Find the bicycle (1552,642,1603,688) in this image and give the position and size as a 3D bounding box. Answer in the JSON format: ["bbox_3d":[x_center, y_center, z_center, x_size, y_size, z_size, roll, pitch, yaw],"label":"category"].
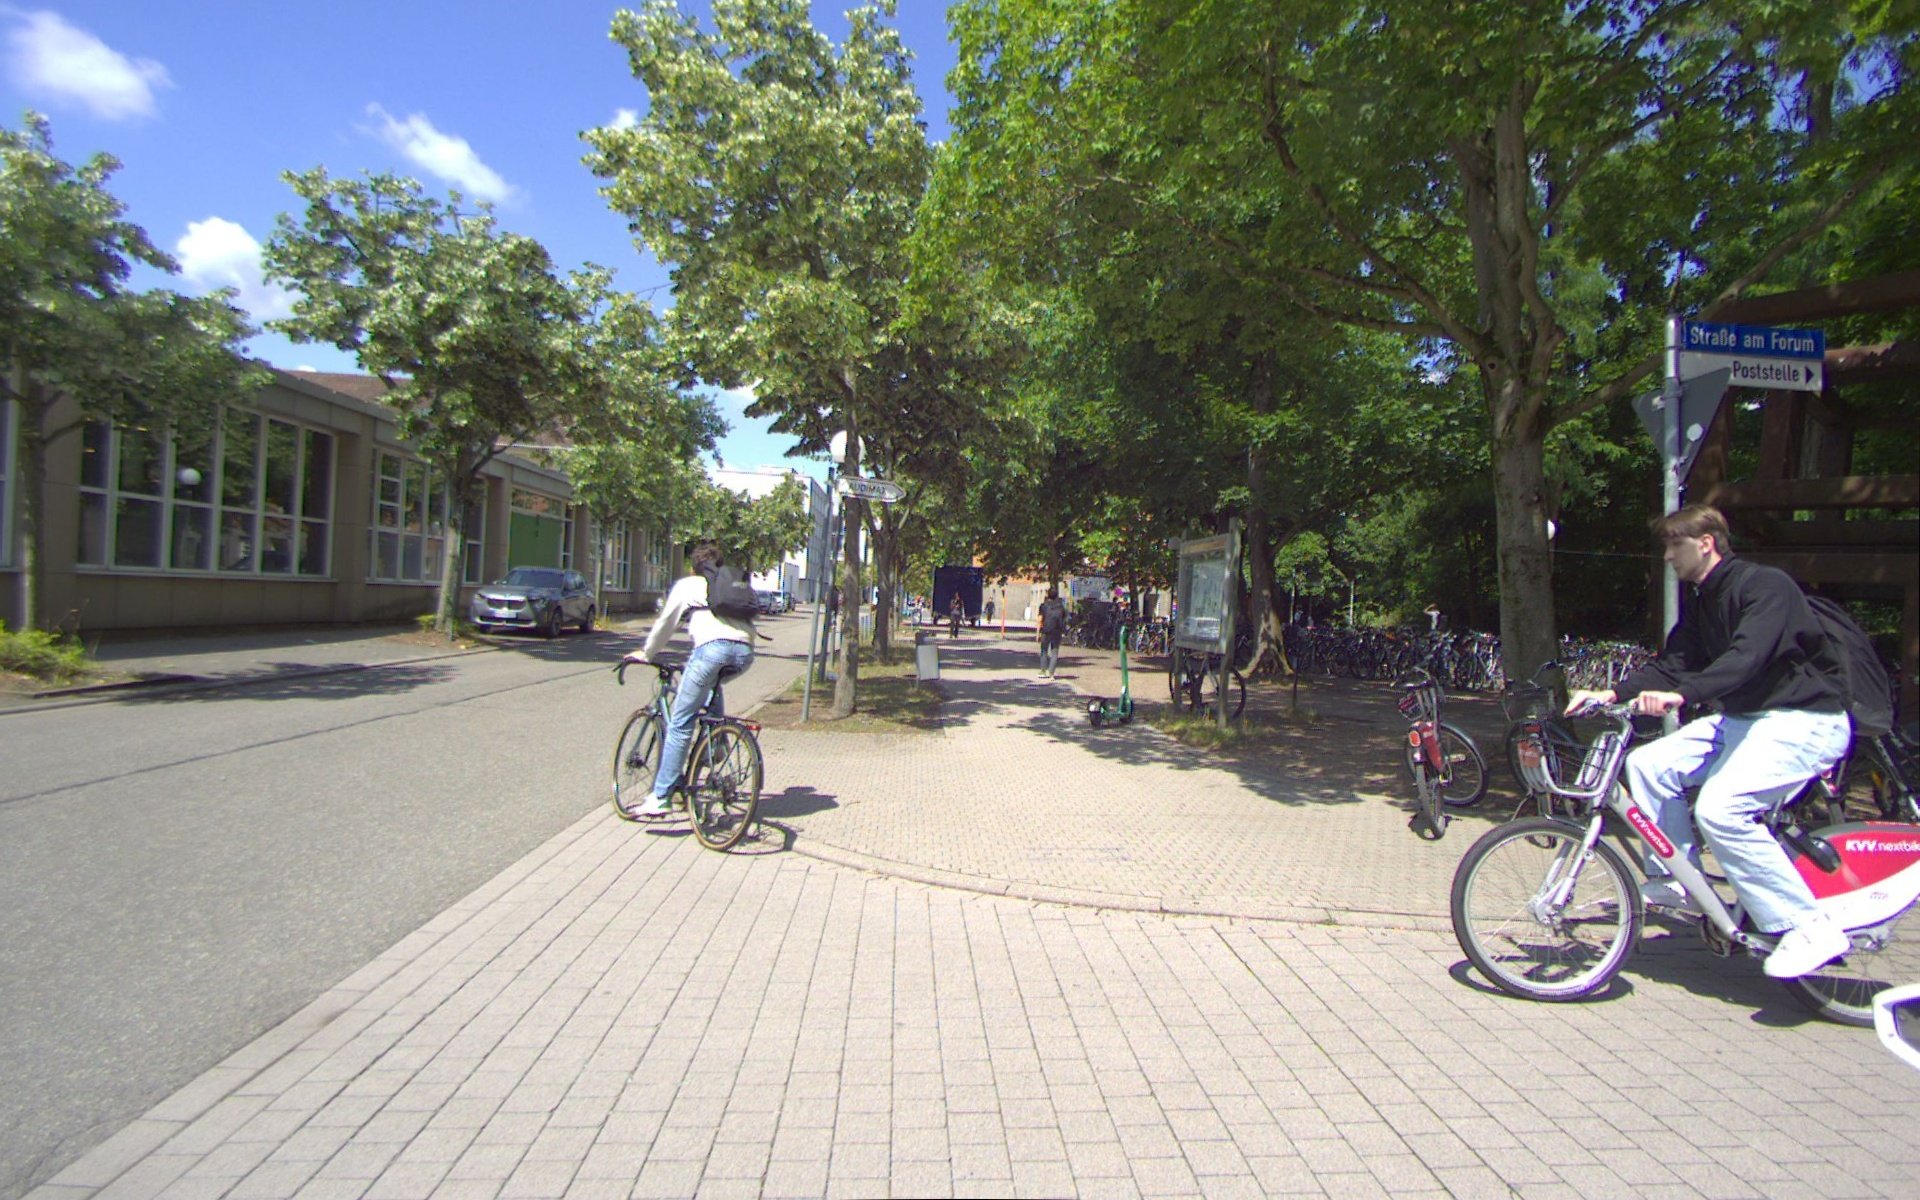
[{"bbox_3d":[15.578,1.639,25.331,1.684,1.098,0.469,3,1,-37],"label":"bicycle"}]

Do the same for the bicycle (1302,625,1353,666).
[{"bbox_3d":[10.440,1.304,28.475,1.844,1.098,0.468,3,1,-41],"label":"bicycle"}]

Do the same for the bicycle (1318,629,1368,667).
[{"bbox_3d":[11.817,1.486,30.959,1.681,1.098,0.470,3,1,-32],"label":"bicycle"}]

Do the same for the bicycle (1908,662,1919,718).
[{"bbox_3d":[19.523,1.814,20.211,1.687,1.098,0.468,3,1,-42],"label":"bicycle"}]

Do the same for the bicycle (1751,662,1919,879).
[{"bbox_3d":[5.474,0.967,5.777,0.487,1.123,1.629,1,0,-3],"label":"bicycle"}]

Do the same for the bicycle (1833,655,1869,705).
[{"bbox_3d":[22.253,1.978,25.099,0.509,1.125,1.770,4,1,39],"label":"bicycle"}]

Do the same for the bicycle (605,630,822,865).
[{"bbox_3d":[-1.557,0.793,6.113,0.634,1.123,1.800,0,1,-36],"label":"bicycle"}]

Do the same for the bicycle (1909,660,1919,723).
[{"bbox_3d":[17.792,1.675,18.327,1.686,1.098,0.468,3,1,-41],"label":"bicycle"}]

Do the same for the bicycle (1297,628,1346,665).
[{"bbox_3d":[11.527,1.488,32.022,1.681,1.098,0.470,3,1,-32],"label":"bicycle"}]

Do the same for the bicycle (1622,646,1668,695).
[{"bbox_3d":[16.320,1.662,23.922,1.687,1.098,0.468,3,1,-42],"label":"bicycle"}]

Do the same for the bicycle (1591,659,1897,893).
[{"bbox_3d":[4.585,0.962,6.031,0.487,1.123,1.629,1,0,-3],"label":"bicycle"}]

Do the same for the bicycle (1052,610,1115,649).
[{"bbox_3d":[3.997,0.952,32.487,2.001,1.123,0.500,3,1,-22],"label":"bicycle"}]

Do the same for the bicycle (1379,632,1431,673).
[{"bbox_3d":[13.000,1.537,29.305,1.681,1.098,0.470,3,1,-32],"label":"bicycle"}]

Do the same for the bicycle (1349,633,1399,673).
[{"bbox_3d":[12.415,1.594,30.109,1.681,1.098,0.470,3,1,-32],"label":"bicycle"}]

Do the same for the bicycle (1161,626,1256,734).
[{"bbox_3d":[2.970,0.921,12.176,0.386,1.123,1.836,3,1,-9],"label":"bicycle"}]

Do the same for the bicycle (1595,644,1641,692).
[{"bbox_3d":[16.042,1.654,24.468,1.687,1.098,0.468,3,1,-42],"label":"bicycle"}]

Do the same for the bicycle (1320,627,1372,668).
[{"bbox_3d":[10.760,1.333,27.965,1.844,1.098,0.468,3,1,-41],"label":"bicycle"}]

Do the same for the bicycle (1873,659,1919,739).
[{"bbox_3d":[14.447,1.485,15.333,1.766,1.123,0.497,3,1,-41],"label":"bicycle"}]

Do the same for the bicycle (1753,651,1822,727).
[{"bbox_3d":[13.354,1.418,16.196,1.892,1.123,0.497,3,1,-41],"label":"bicycle"}]

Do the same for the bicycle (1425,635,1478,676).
[{"bbox_3d":[13.828,1.570,28.244,1.681,1.098,0.470,3,1,-32],"label":"bicycle"}]

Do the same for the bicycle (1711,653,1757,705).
[{"bbox_3d":[17.527,1.769,22.736,1.687,1.098,0.468,3,1,-42],"label":"bicycle"}]

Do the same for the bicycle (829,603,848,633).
[{"bbox_3d":[-4.738,0.691,38.945,0.658,1.123,2.069,2,-1,-8],"label":"bicycle"}]

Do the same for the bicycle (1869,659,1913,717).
[{"bbox_3d":[19.103,1.784,20.602,1.687,1.098,0.468,3,1,-42],"label":"bicycle"}]

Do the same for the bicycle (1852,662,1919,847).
[{"bbox_3d":[6.227,0.985,6.033,0.487,1.123,1.631,1,0,9],"label":"bicycle"}]

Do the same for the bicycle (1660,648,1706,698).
[{"bbox_3d":[16.958,1.703,23.551,1.687,1.098,0.468,3,1,-42],"label":"bicycle"}]

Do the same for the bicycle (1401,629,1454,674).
[{"bbox_3d":[12.010,1.326,25.776,1.844,1.098,0.468,3,1,-41],"label":"bicycle"}]

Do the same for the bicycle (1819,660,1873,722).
[{"bbox_3d":[16.831,1.705,19.072,1.844,1.098,0.468,3,1,-41],"label":"bicycle"}]

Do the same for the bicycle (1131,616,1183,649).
[{"bbox_3d":[7.154,1.188,36.457,1.831,1.098,0.472,3,1,-20],"label":"bicycle"}]

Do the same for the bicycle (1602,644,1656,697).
[{"bbox_3d":[14.732,1.538,22.107,1.844,1.098,0.468,3,1,-41],"label":"bicycle"}]

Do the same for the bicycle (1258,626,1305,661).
[{"bbox_3d":[10.678,1.457,33.372,1.681,1.098,0.470,3,1,-32],"label":"bicycle"}]

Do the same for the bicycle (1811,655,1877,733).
[{"bbox_3d":[14.009,1.466,15.900,1.766,1.123,0.497,3,1,-41],"label":"bicycle"}]

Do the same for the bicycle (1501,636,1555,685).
[{"bbox_3d":[13.419,1.427,23.718,1.844,1.098,0.468,3,1,-41],"label":"bicycle"}]

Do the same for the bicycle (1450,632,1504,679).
[{"bbox_3d":[12.706,1.360,24.682,1.844,1.098,0.468,3,1,-41],"label":"bicycle"}]

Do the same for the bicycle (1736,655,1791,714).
[{"bbox_3d":[16.040,1.665,20.044,1.844,1.098,0.468,3,1,-41],"label":"bicycle"}]

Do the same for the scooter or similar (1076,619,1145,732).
[{"bbox_3d":[1.734,0.837,11.465,0.287,1.210,1.182,2,0,32],"label":"scooter or similar"}]

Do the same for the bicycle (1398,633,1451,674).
[{"bbox_3d":[13.367,1.549,28.894,1.681,1.098,0.470,3,1,-32],"label":"bicycle"}]

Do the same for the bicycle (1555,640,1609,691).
[{"bbox_3d":[14.219,1.499,22.950,1.844,1.098,0.468,3,1,-41],"label":"bicycle"}]

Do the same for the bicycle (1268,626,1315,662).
[{"bbox_3d":[10.861,1.460,32.890,1.681,1.098,0.470,3,1,-32],"label":"bicycle"}]

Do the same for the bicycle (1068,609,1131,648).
[{"bbox_3d":[4.363,0.892,31.332,2.007,1.123,0.499,3,1,-30],"label":"bicycle"}]

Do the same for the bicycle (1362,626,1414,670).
[{"bbox_3d":[11.521,1.299,27.039,1.844,1.098,0.468,3,1,-41],"label":"bicycle"}]

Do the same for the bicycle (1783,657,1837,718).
[{"bbox_3d":[16.583,1.692,19.586,1.844,1.098,0.468,3,1,-41],"label":"bicycle"}]

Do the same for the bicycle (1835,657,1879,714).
[{"bbox_3d":[18.768,1.773,21.009,1.687,1.098,0.468,3,1,-42],"label":"bicycle"}]

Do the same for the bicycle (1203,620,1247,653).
[{"bbox_3d":[9.579,1.314,36.331,1.681,1.098,0.470,3,1,-32],"label":"bicycle"}]

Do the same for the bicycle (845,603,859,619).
[{"bbox_3d":[-7.917,0.789,73.421,0.468,1.098,1.689,3,1,-25],"label":"bicycle"}]

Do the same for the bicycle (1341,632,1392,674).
[{"bbox_3d":[11.180,1.462,27.610,1.844,1.098,0.468,3,1,-41],"label":"bicycle"}]

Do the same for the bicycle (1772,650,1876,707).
[{"bbox_3d":[19.528,1.752,22.719,0.600,1.098,1.678,3,1,-42],"label":"bicycle"}]

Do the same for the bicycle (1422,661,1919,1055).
[{"bbox_3d":[2.790,0.876,3.667,1.848,1.156,0.675,3,2,12],"label":"bicycle"}]

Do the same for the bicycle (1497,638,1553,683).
[{"bbox_3d":[14.721,1.589,26.146,1.681,1.098,0.470,3,1,-32],"label":"bicycle"}]

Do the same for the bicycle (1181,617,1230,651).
[{"bbox_3d":[8.424,1.182,34.486,1.840,1.098,0.469,3,1,-35],"label":"bicycle"}]

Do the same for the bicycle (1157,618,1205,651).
[{"bbox_3d":[7.827,1.223,35.540,1.840,1.098,0.469,3,1,-35],"label":"bicycle"}]
